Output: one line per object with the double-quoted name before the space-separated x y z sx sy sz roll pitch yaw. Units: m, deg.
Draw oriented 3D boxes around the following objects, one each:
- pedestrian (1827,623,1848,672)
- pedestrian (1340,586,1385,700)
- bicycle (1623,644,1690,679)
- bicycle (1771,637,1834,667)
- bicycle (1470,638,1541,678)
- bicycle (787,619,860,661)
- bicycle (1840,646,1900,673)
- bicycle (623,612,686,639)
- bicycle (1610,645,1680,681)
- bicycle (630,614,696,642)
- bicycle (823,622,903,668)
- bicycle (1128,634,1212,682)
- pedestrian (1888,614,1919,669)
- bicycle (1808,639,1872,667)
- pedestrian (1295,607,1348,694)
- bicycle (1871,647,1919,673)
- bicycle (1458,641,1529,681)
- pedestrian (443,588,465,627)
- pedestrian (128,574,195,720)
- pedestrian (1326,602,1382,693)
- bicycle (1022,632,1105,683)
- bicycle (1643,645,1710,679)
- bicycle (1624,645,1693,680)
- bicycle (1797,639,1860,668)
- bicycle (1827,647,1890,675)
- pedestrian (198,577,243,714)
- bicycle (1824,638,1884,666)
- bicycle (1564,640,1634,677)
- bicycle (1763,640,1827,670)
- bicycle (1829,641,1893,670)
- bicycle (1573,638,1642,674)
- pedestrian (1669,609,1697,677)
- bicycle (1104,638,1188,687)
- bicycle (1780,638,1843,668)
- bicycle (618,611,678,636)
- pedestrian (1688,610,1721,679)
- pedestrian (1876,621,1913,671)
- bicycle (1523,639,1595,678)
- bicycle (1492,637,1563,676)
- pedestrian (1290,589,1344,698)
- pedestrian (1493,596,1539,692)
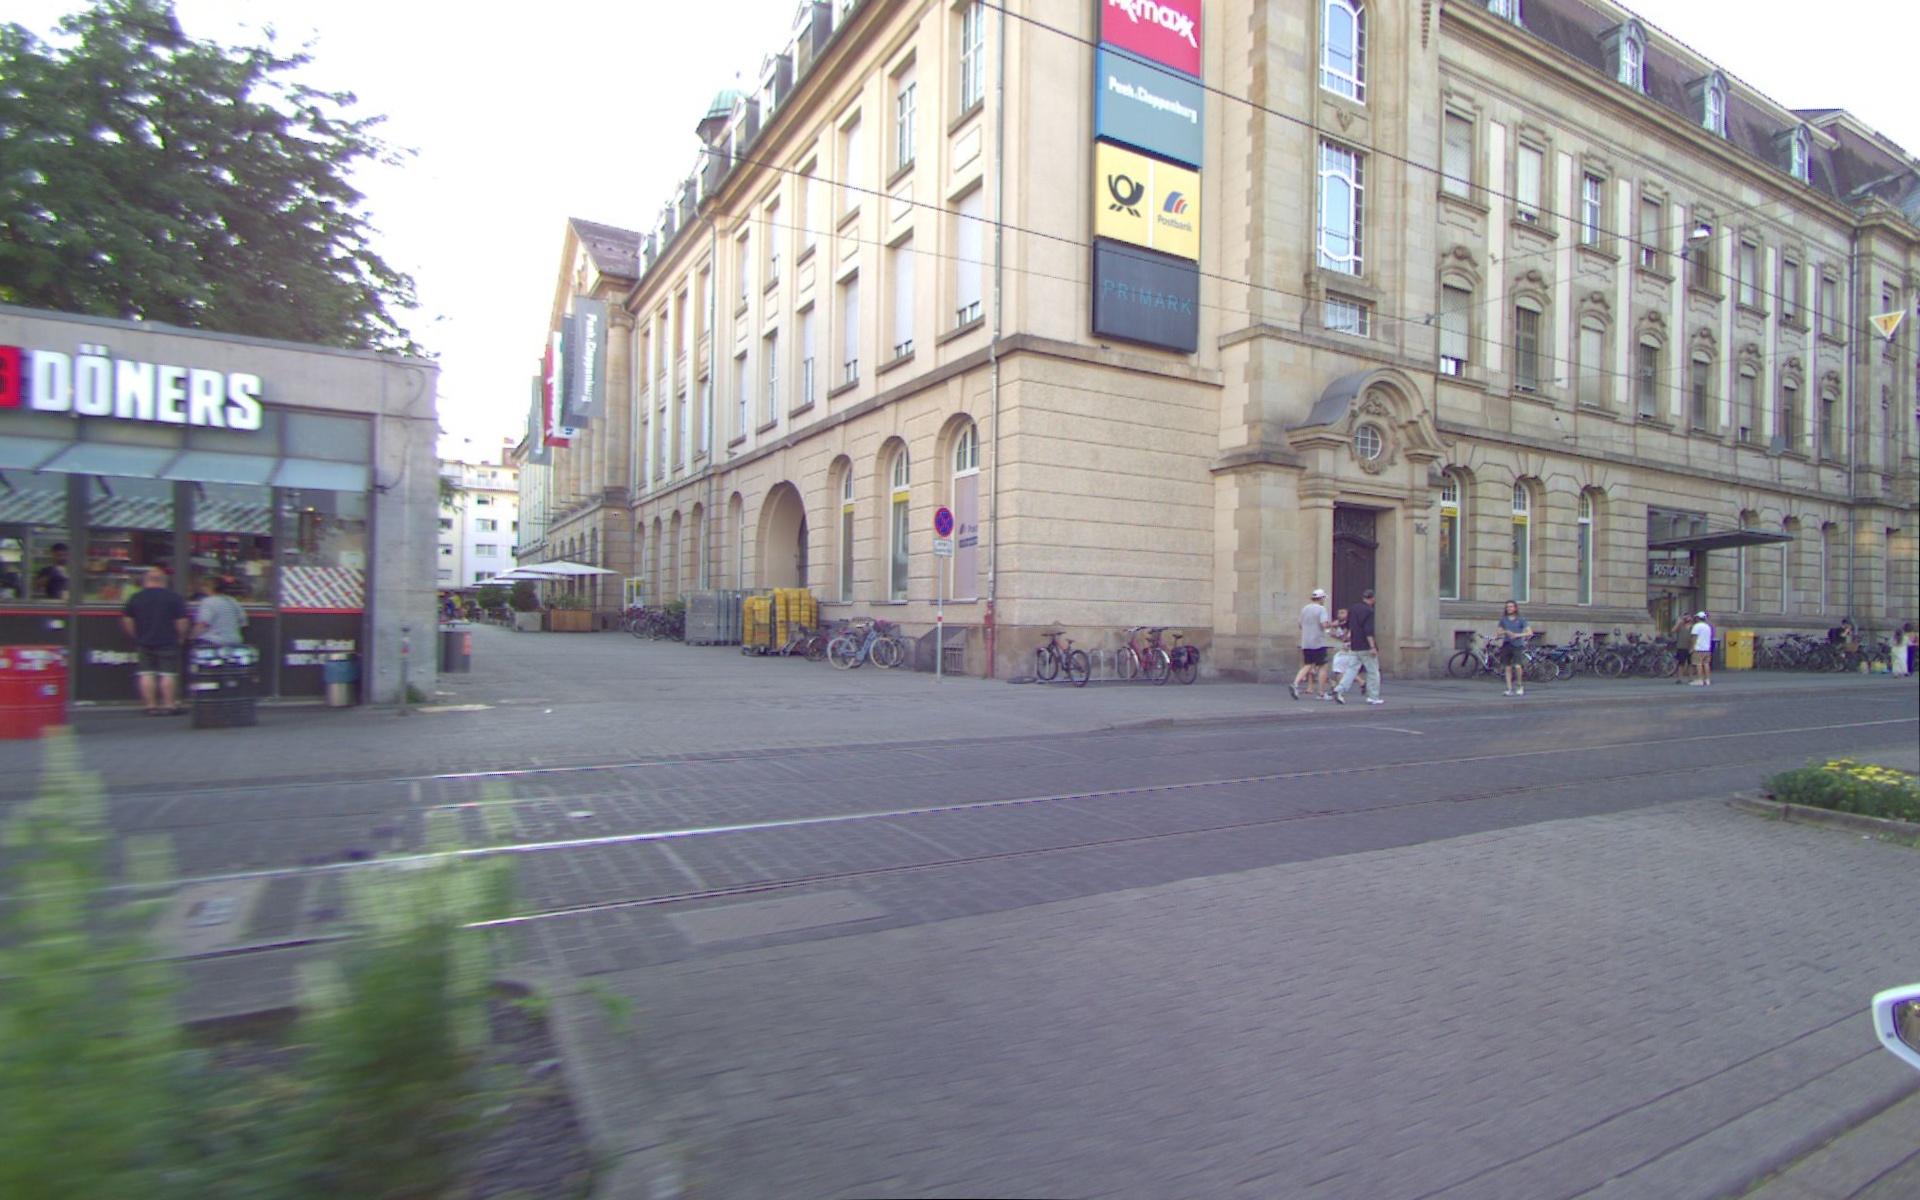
"pedestrian" 30.493 1.654 34.900 0.424 1.655 0.363 2 0 -24
"pedestrian" 6.391 0.677 15.952 0.637 1.759 0.595 0 -2 21
"bicycle" 20.229 1.777 29.191 0.445 0.885 1.571 2 0 -25
"bicycle" 28.016 1.728 33.424 0.445 0.885 1.571 2 0 -25
"bicycle" 13.477 1.434 24.865 0.445 0.885 1.571 2 0 -25
"bicycle" -3.528 1.030 25.994 1.820 1.025 0.480 1 0 -32
"bicycle" 33.480 2.188 36.979 0.445 0.885 1.571 2 0 -25
"bicycle" -11.469 0.964 37.738 2.168 0.955 0.534 1 0 -31
"bicycle" 18.893 1.719 27.725 0.445 0.885 1.571 2 0 -25
"bicycle" -10.860 1.025 36.716 2.168 0.955 0.847 1 0 -31
"bicycle" -2.266 1.052 23.615 1.820 1.025 0.480 1 0 -32
"bicycle" 4.384 1.199 21.118 0.628 0.880 1.825 2 0 -31
"pedestrian" 30.524 1.344 32.362 0.806 1.734 0.689 2 -1 -30
"bicycle" 30.101 1.806 34.384 0.445 0.885 1.571 2 0 -25
"pedestrian" 6.740 0.929 18.737 0.673 1.582 0.655 2 -1 -34
"bicycle" 35.237 2.249 37.626 0.445 0.885 1.571 2 0 -25
"bicycle" 13.033 1.477 24.566 0.445 0.885 1.571 2 0 -25
"pedestrian" -23.004 0.351 45.686 0.791 1.724 0.793 2 0 -31
"pedestrian" -9.488 0.544 11.950 0.547 1.675 0.557 2 0 -36
"pedestrian" 7.087 0.845 18.090 0.673 1.582 0.655 2 -1 -34
"bicycle" 2.013 1.111 19.735 0.628 0.880 1.825 2 0 -31
"bicycle" 20.940 1.805 29.373 0.445 0.885 1.571 2 0 -25
"bicycle" 19.676 1.752 28.336 0.445 0.885 1.571 2 0 -25
"bicycle" 29.507 1.809 34.157 0.445 0.885 1.571 2 0 -25
"bicycle" 31.387 2.118 35.105 0.445 0.885 1.571 2 0 -25
"pedestrian" -9.182 0.558 12.487 0.397 1.675 0.390 2 0 -36
"bicycle" 32.131 1.862 36.123 0.445 0.885 1.571 2 0 -25
"bicycle" 17.011 1.555 26.775 0.445 0.885 1.571 2 0 -25
"bicycle" 27.478 1.809 33.071 0.445 0.885 1.571 2 0 -25
"bicycle" 30.913 1.903 34.469 0.445 0.885 1.571 2 0 -25
"bicycle" 17.591 1.515 27.322 0.445 0.885 1.571 2 0 -25
"pedestrian" 18.225 1.083 25.317 0.488 1.695 0.372 2 0 -35
"bicycle" 3.800 1.263 20.694 0.628 0.880 1.825 2 0 -31
"bicycle" 28.502 1.767 33.644 0.445 0.885 1.571 2 0 -25
"bicycle" -12.231 0.943 39.440 2.168 0.955 0.534 1 0 -31
"pedestrian" 18.346 1.086 24.753 0.483 1.653 0.376 2 0 10
"pedestrian" 28.437 1.384 30.568 0.549 1.486 0.689 1 -1 -30
"bicycle" 15.200 1.480 25.530 0.445 0.885 1.571 2 0 -25
"bicycle" 14.274 1.419 25.305 0.445 0.885 1.571 2 0 -25
"pedestrian" 5.921 0.716 16.661 0.670 1.759 0.674 -1 -2 38
"pedestrian" 10.439 0.817 18.870 0.670 1.759 0.480 -1 -2 39
